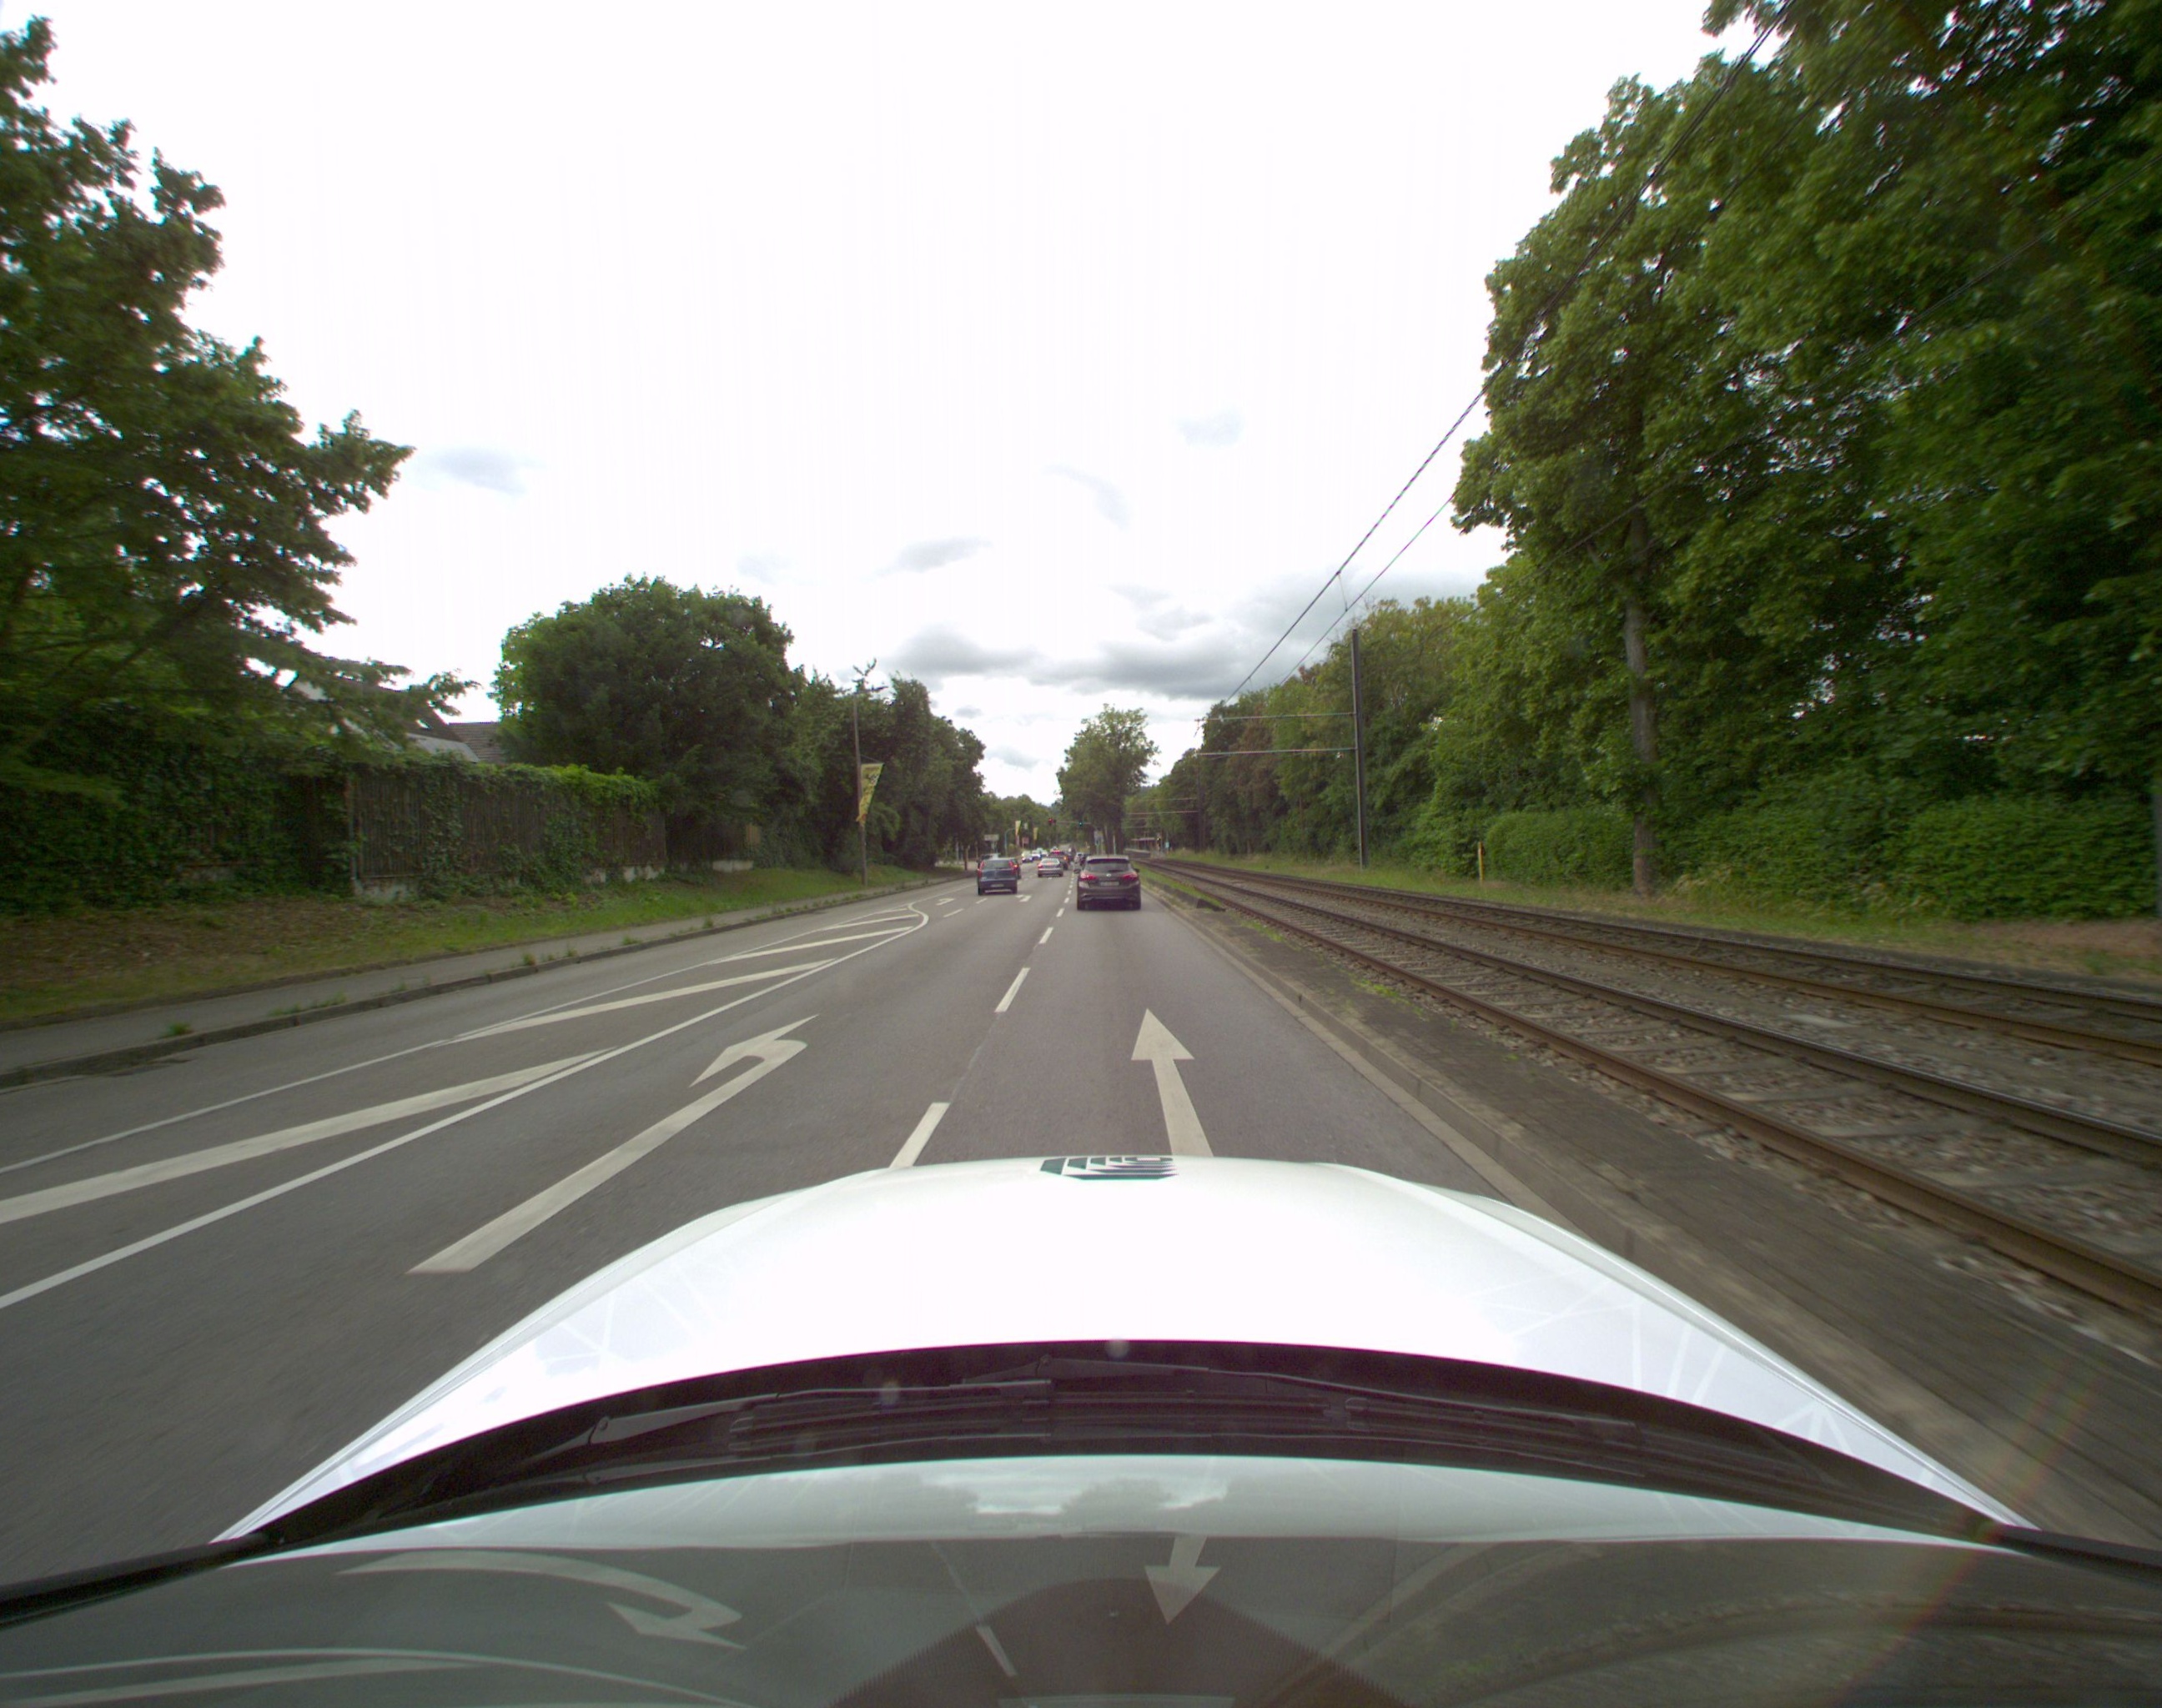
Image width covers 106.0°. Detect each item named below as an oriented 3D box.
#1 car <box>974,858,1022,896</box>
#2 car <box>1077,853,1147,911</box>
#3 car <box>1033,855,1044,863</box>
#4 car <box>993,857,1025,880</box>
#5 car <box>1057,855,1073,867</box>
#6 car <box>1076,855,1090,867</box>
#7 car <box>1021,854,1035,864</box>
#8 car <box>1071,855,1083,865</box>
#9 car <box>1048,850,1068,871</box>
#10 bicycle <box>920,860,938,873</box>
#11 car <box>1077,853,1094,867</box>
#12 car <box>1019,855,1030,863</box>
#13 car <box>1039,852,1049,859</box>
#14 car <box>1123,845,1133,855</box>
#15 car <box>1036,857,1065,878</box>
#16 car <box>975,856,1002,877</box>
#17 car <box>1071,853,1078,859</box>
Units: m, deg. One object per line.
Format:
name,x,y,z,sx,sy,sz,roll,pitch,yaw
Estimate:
car,-3.451,0.935,34.396,1.695,1.443,3.997,-1,0,-2
car,0.922,0.760,23.699,1.843,1.493,4.003,-1,0,3
car,-7.951,0.952,152.136,1.708,1.550,4.002,-1,-1,3
car,-4.752,0.966,54.397,1.709,1.435,4.000,-1,-1,1
car,-2.045,0.901,104.883,1.787,1.510,4.001,-2,0,1
car,0.275,0.918,112.177,1.708,1.550,4.002,-1,-1,3
car,-8.649,0.846,133.137,1.708,1.550,4.002,-1,-1,3
car,-0.600,1.045,133.401,1.708,1.550,4.002,-1,-1,3
car,-2.159,0.645,77.658,1.710,1.864,3.999,-1,-1,0
bicycle,-14.250,1.170,76.426,0.494,1.107,1.811,-2,0,33
car,0.564,0.673,94.877,1.708,1.550,4.002,-1,-1,3
car,-11.725,1.087,169.814,1.708,1.550,4.002,-1,-1,3
car,-8.276,0.351,183.167,1.708,1.550,4.002,-1,-1,3
car,8.689,-0.776,150.621,1.709,1.663,3.707,-1,-1,1
car,-2.092,0.936,57.250,1.708,1.435,4.002,-1,-1,3
car,-7.845,1.045,69.379,1.709,1.760,4.000,-1,-1,1
car,-1.687,0.617,210.037,1.708,1.550,4.002,-1,-1,3
